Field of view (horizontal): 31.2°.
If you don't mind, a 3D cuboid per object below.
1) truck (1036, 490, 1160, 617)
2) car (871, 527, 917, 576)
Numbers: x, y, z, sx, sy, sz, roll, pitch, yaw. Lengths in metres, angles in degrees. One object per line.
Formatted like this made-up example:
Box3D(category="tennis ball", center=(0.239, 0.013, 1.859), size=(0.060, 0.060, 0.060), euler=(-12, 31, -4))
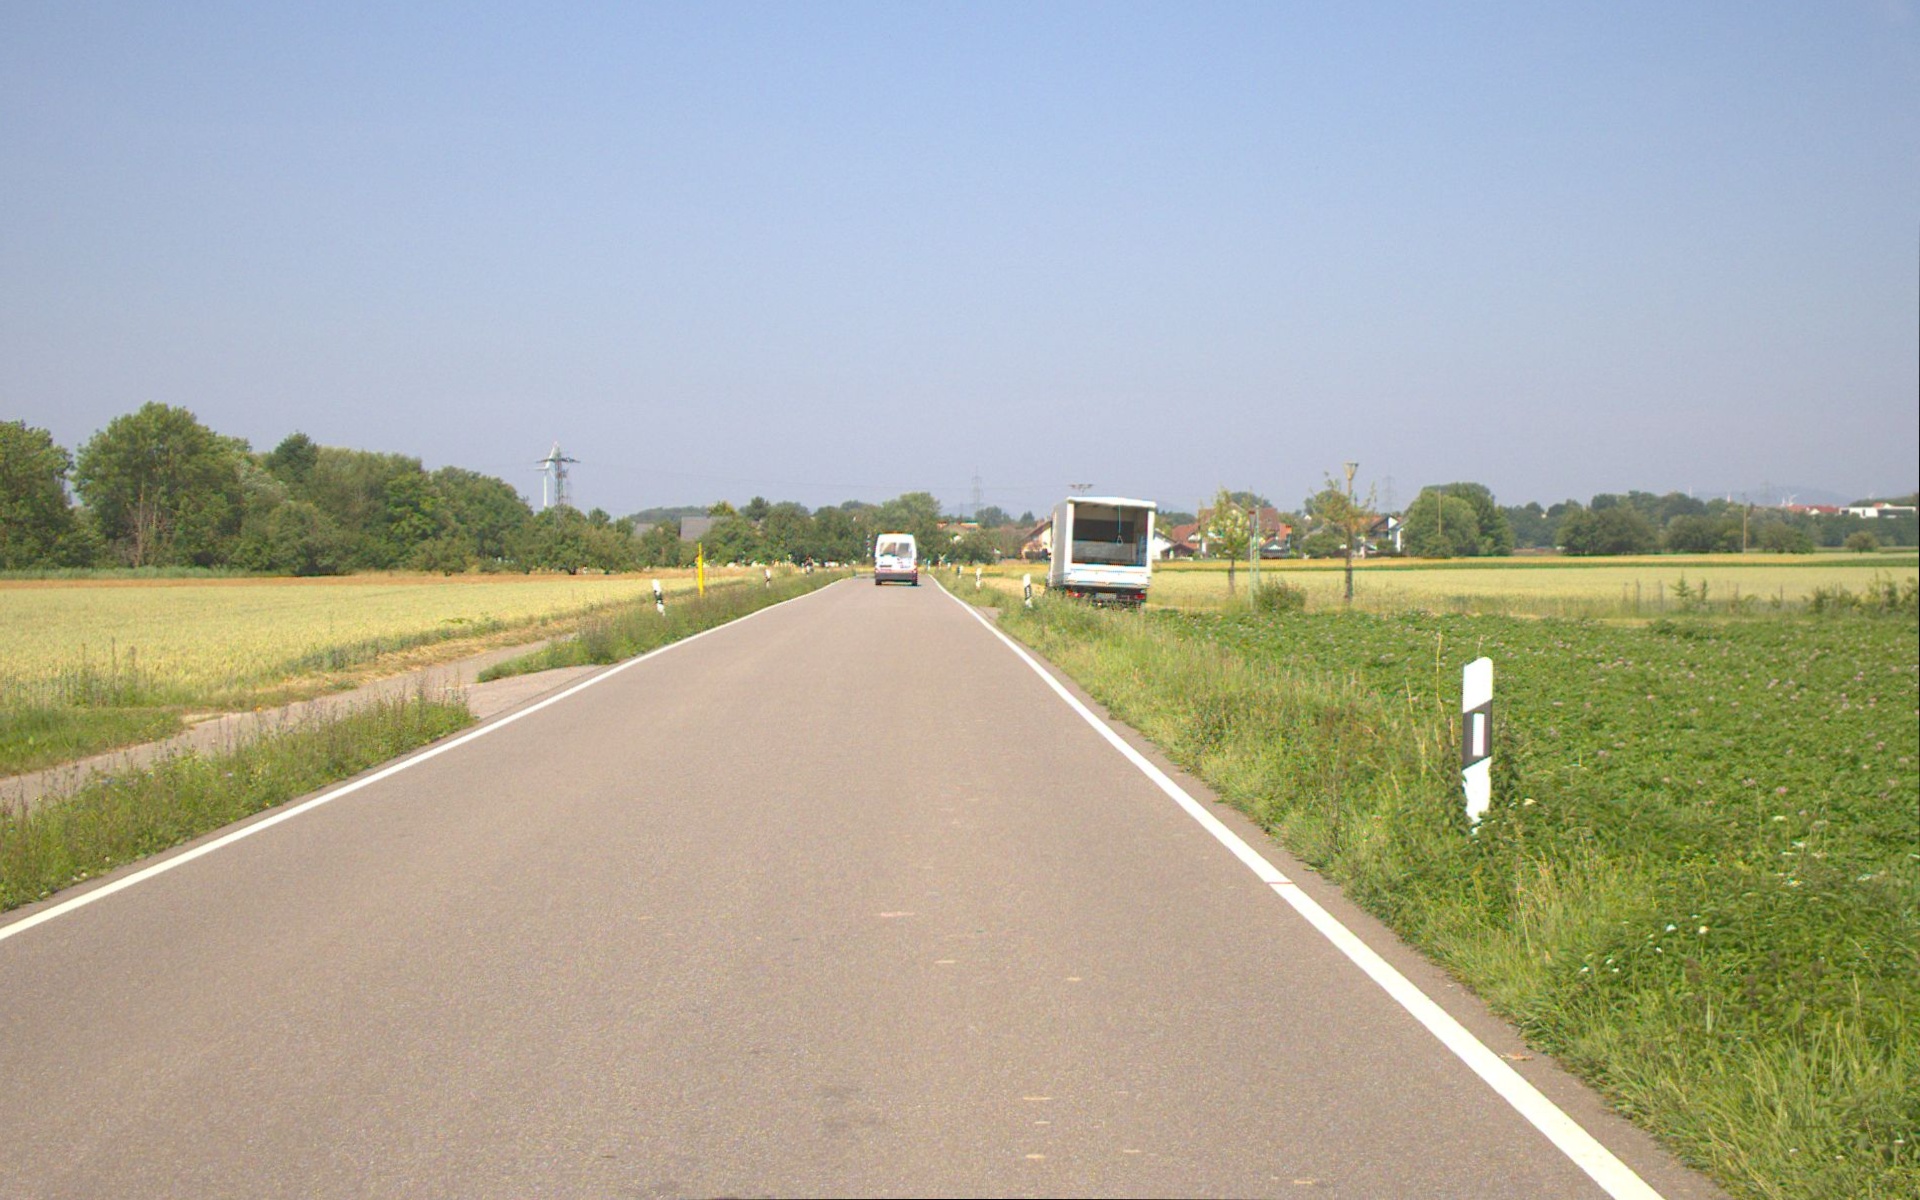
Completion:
Box3D(category="truck", center=(3.396, -1.165, 86.004), size=(2.335, 2.932, 7.009), euler=(3, 0, -3))
Box3D(category="car", center=(-3.164, -2.318, 165.527), size=(2.107, 2.296, 5.496), euler=(2, 1, -1))
